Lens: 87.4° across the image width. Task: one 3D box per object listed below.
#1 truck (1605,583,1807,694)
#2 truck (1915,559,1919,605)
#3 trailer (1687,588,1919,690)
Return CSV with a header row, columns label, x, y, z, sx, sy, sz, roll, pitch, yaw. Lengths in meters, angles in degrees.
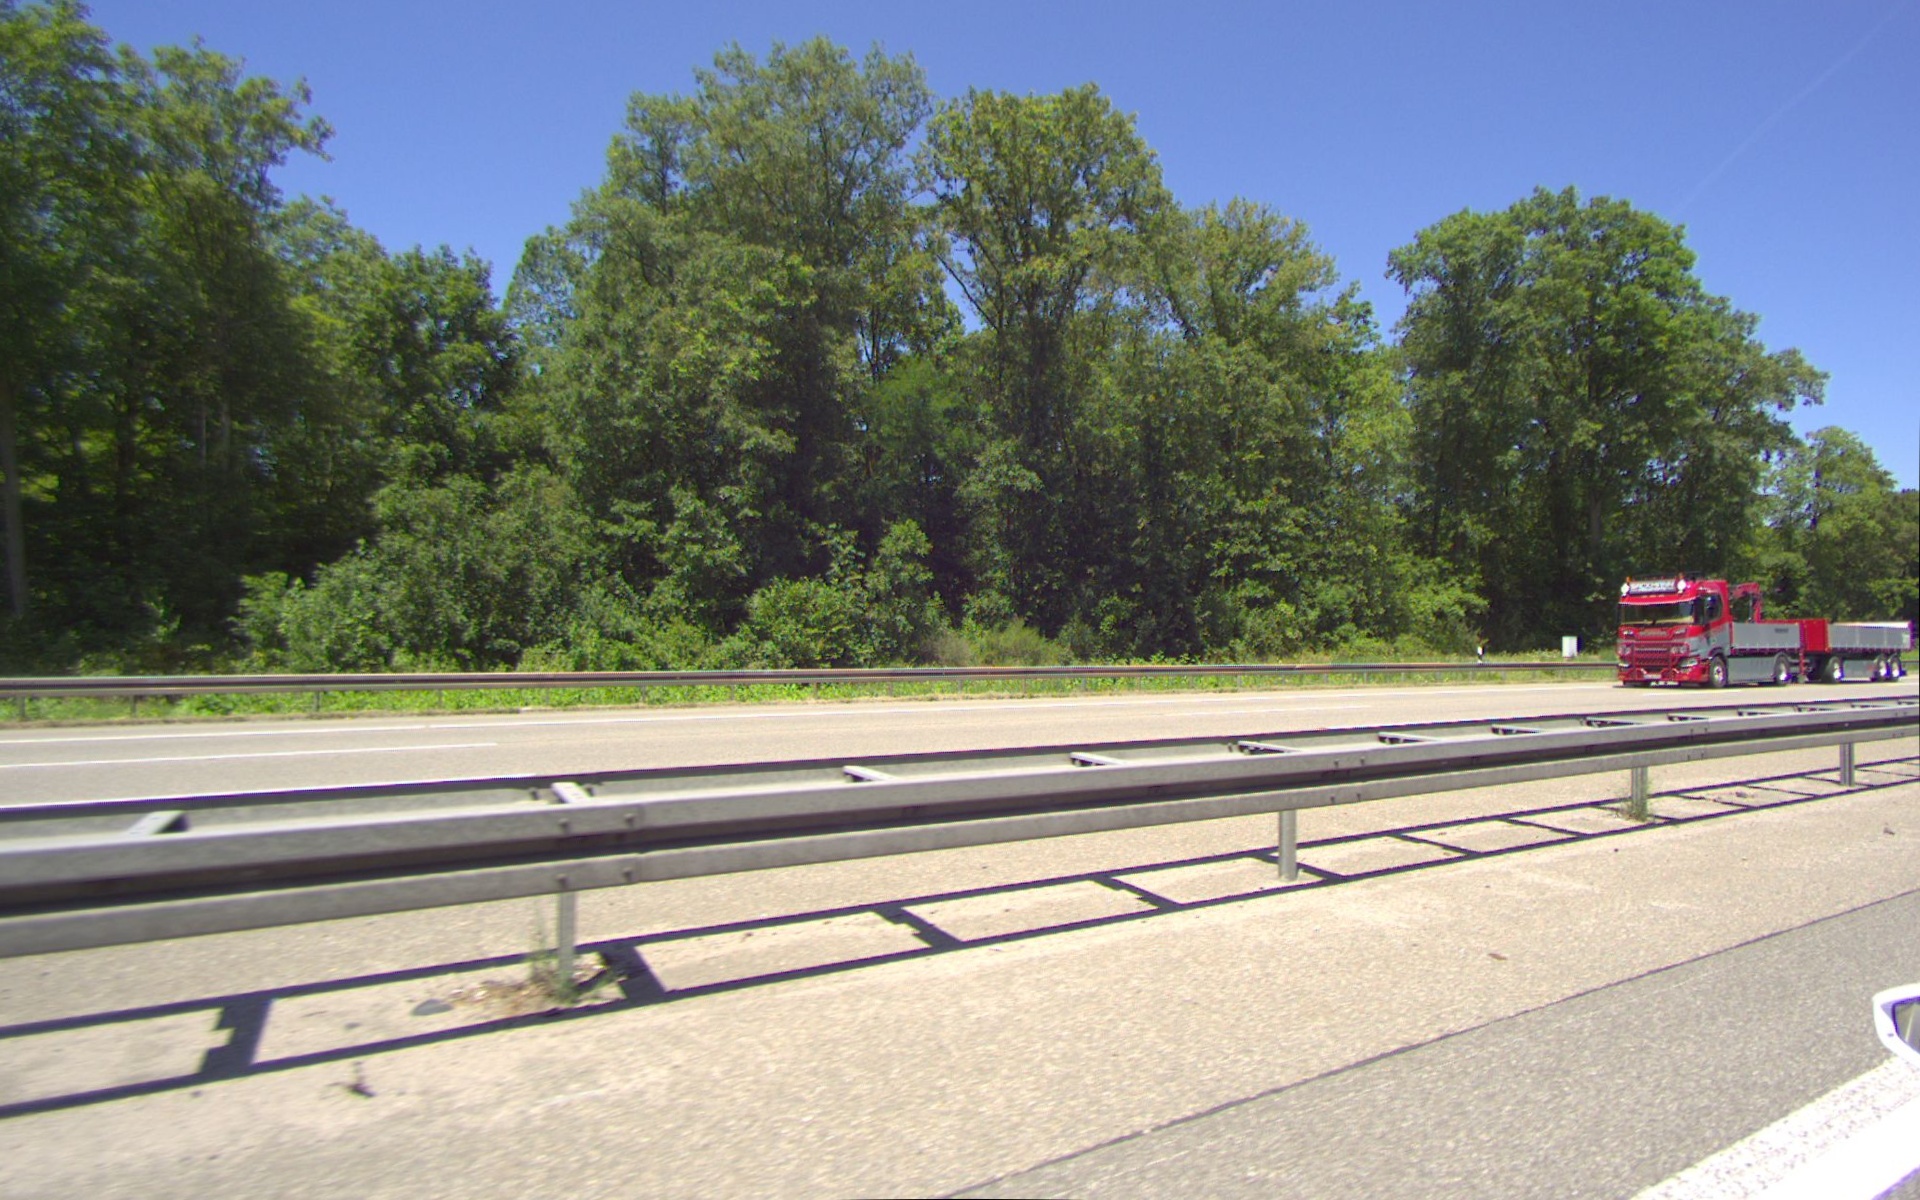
label,x,y,z,sx,sy,sz,roll,pitch,yaw
truck,25.616,1.321,34.397,7.572,3.438,2.736,2,0,-30
truck,124.202,-2.049,118.489,3.145,5.639,16.342,2,0,-36
trailer,32.930,1.547,38.748,13.134,3.438,2.766,2,0,-30
